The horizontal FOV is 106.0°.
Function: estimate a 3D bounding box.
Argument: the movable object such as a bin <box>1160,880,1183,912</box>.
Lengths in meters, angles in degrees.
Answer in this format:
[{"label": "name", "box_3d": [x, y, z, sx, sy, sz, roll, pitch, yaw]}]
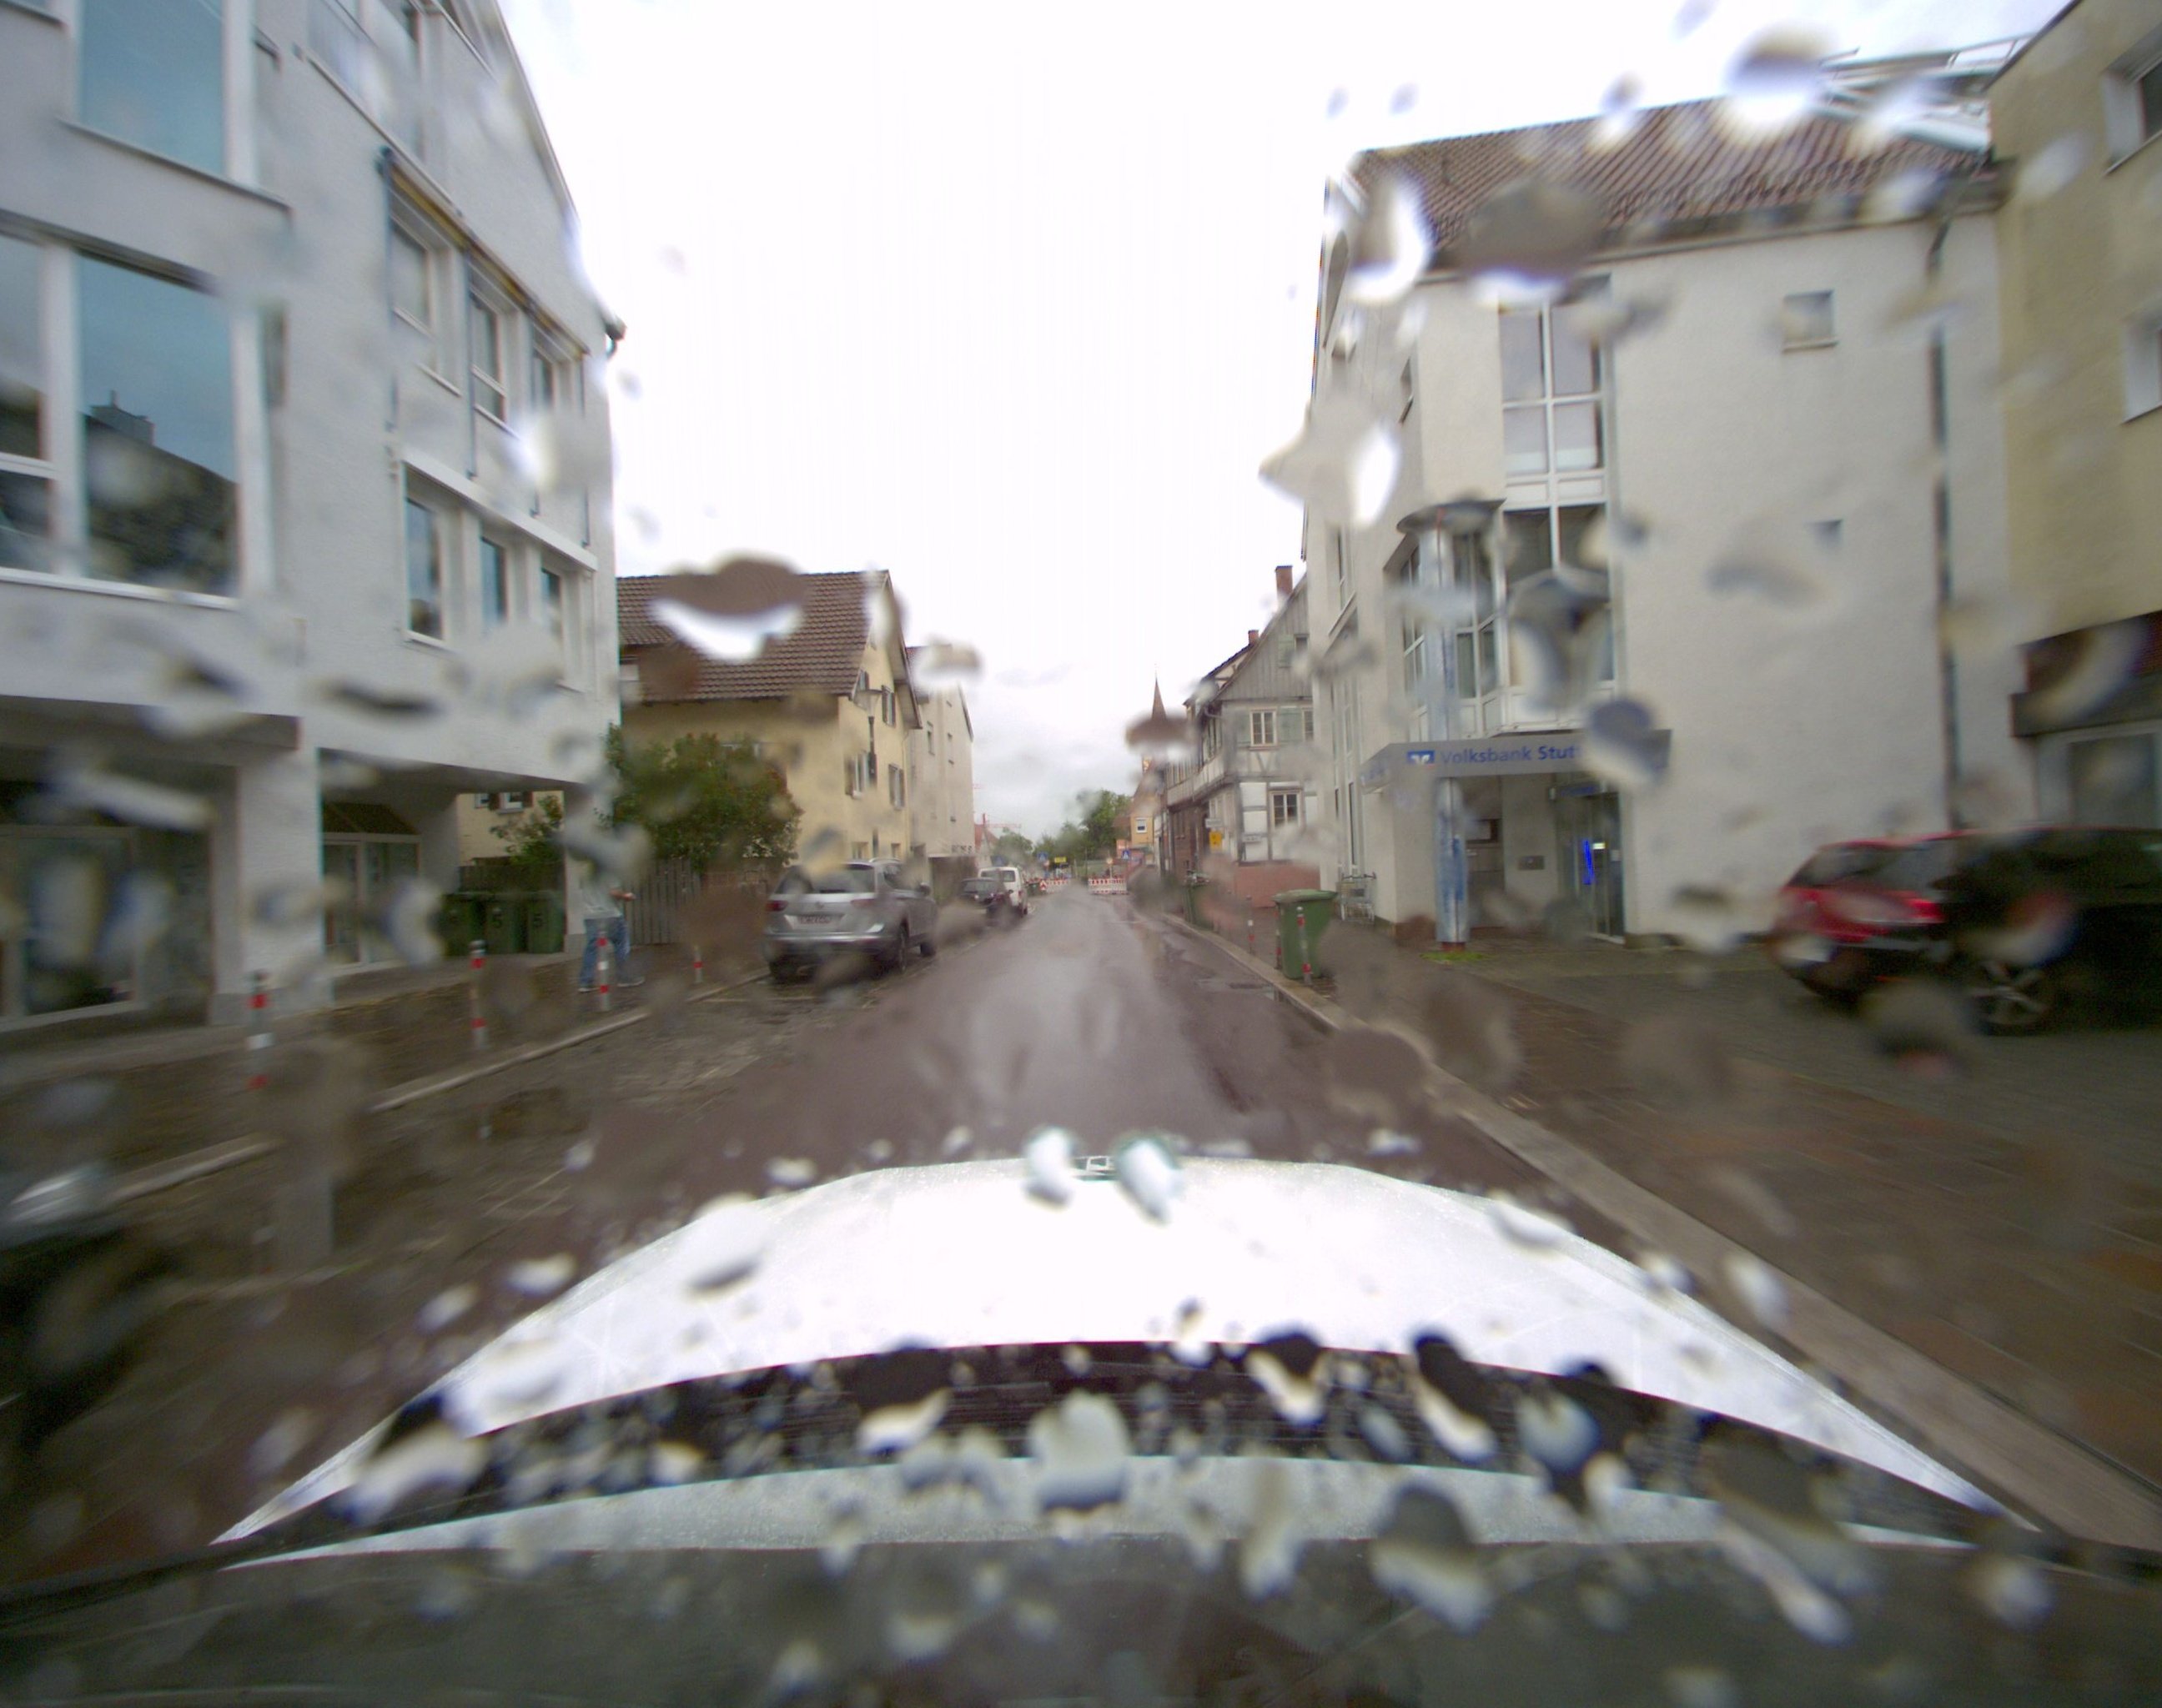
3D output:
[{"label": "movable object such as a bin", "box_3d": [3.170, 1.466, 28.574, 0.667, 1.081, 0.587, -3, -3, -1]}]

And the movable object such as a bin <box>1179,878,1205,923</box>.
[{"label": "movable object such as a bin", "box_3d": [2.915, 1.216, 21.364, 0.613, 1.131, 0.633, -2, -2, 5]}]

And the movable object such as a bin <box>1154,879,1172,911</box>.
[{"label": "movable object such as a bin", "box_3d": [3.008, 1.512, 29.940, 0.635, 1.147, 0.604, -2, -2, 5]}]

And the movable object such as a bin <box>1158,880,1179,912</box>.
[{"label": "movable object such as a bin", "box_3d": [3.157, 1.505, 29.273, 0.636, 1.147, 0.631, -2, -2, -2]}]

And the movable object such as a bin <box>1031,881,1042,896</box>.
[{"label": "movable object such as a bin", "box_3d": [-3.370, 2.619, 62.001, 0.538, 1.033, 0.538, -6, -4, 34]}]

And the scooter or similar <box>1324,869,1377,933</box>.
[{"label": "scooter or similar", "box_3d": [5.136, 0.877, 15.594, 0.661, 1.146, 1.449, -2, -2, 8]}]

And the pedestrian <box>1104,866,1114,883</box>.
[{"label": "pedestrian", "box_3d": [2.975, 2.183, 86.853, 0.988, 1.759, 0.850, -2, -2, -6]}]

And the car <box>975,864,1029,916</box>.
[{"label": "car", "box_3d": [-2.974, 1.368, 31.476, 1.719, 1.825, 4.425, -2, -2, -1]}]

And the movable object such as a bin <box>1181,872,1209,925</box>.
[{"label": "movable object such as a bin", "box_3d": [2.894, 1.124, 20.682, 0.635, 1.290, 0.633, -2, -2, 5]}]

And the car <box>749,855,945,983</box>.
[{"label": "car", "box_3d": [-3.341, 0.893, 12.569, 1.774, 1.569, 4.405, -2, -2, -1]}]

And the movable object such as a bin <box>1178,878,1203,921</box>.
[{"label": "movable object such as a bin", "box_3d": [2.960, 1.228, 22.056, 0.613, 1.131, 0.633, -2, -2, 5]}]

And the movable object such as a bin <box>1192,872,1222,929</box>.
[{"label": "movable object such as a bin", "box_3d": [2.959, 1.081, 19.146, 0.635, 1.290, 0.633, -2, -2, 5]}]

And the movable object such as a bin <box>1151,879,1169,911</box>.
[{"label": "movable object such as a bin", "box_3d": [2.975, 1.526, 30.564, 0.635, 1.147, 0.581, -2, -2, 5]}]

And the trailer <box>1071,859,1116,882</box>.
[{"label": "trailer", "box_3d": [1.638, 2.209, 108.978, 5.771, 2.948, 1.996, -2, -2, -5]}]

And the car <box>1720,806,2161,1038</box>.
[{"label": "car", "box_3d": [7.910, 0.441, 6.479, 3.961, 1.514, 1.918, -4, 0, 11]}]

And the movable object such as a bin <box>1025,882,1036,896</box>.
[{"label": "movable object such as a bin", "box_3d": [-3.879, 2.680, 62.383, 0.535, 1.037, 0.576, -6, -4, 34]}]

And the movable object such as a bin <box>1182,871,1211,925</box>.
[{"label": "movable object such as a bin", "box_3d": [2.829, 1.069, 19.946, 0.635, 1.290, 0.633, -2, -2, 5]}]

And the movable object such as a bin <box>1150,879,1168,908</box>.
[{"label": "movable object such as a bin", "box_3d": [3.146, 1.588, 32.872, 0.607, 1.128, 0.599, -2, -2, 0]}]

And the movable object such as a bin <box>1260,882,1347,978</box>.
[{"label": "movable object such as a bin", "box_3d": [2.769, 0.927, 10.218, 0.801, 1.131, 0.862, -2, -2, -1]}]

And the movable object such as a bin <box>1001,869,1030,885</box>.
[{"label": "movable object such as a bin", "box_3d": [-8.650, 3.047, 107.280, 3.389, 2.014, 3.479, -2, -2, 2]}]

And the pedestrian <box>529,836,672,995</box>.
[{"label": "pedestrian", "box_3d": [-5.794, 0.706, 9.899, 1.031, 1.806, 1.116, -1, -1, 1]}]

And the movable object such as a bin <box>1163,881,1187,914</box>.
[{"label": "movable object such as a bin", "box_3d": [3.142, 1.449, 27.306, 0.676, 1.097, 0.649, -1, -2, -3]}]

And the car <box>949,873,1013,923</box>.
[{"label": "car", "box_3d": [-3.086, 1.344, 25.697, 1.677, 1.389, 3.821, -2, -2, -3]}]
